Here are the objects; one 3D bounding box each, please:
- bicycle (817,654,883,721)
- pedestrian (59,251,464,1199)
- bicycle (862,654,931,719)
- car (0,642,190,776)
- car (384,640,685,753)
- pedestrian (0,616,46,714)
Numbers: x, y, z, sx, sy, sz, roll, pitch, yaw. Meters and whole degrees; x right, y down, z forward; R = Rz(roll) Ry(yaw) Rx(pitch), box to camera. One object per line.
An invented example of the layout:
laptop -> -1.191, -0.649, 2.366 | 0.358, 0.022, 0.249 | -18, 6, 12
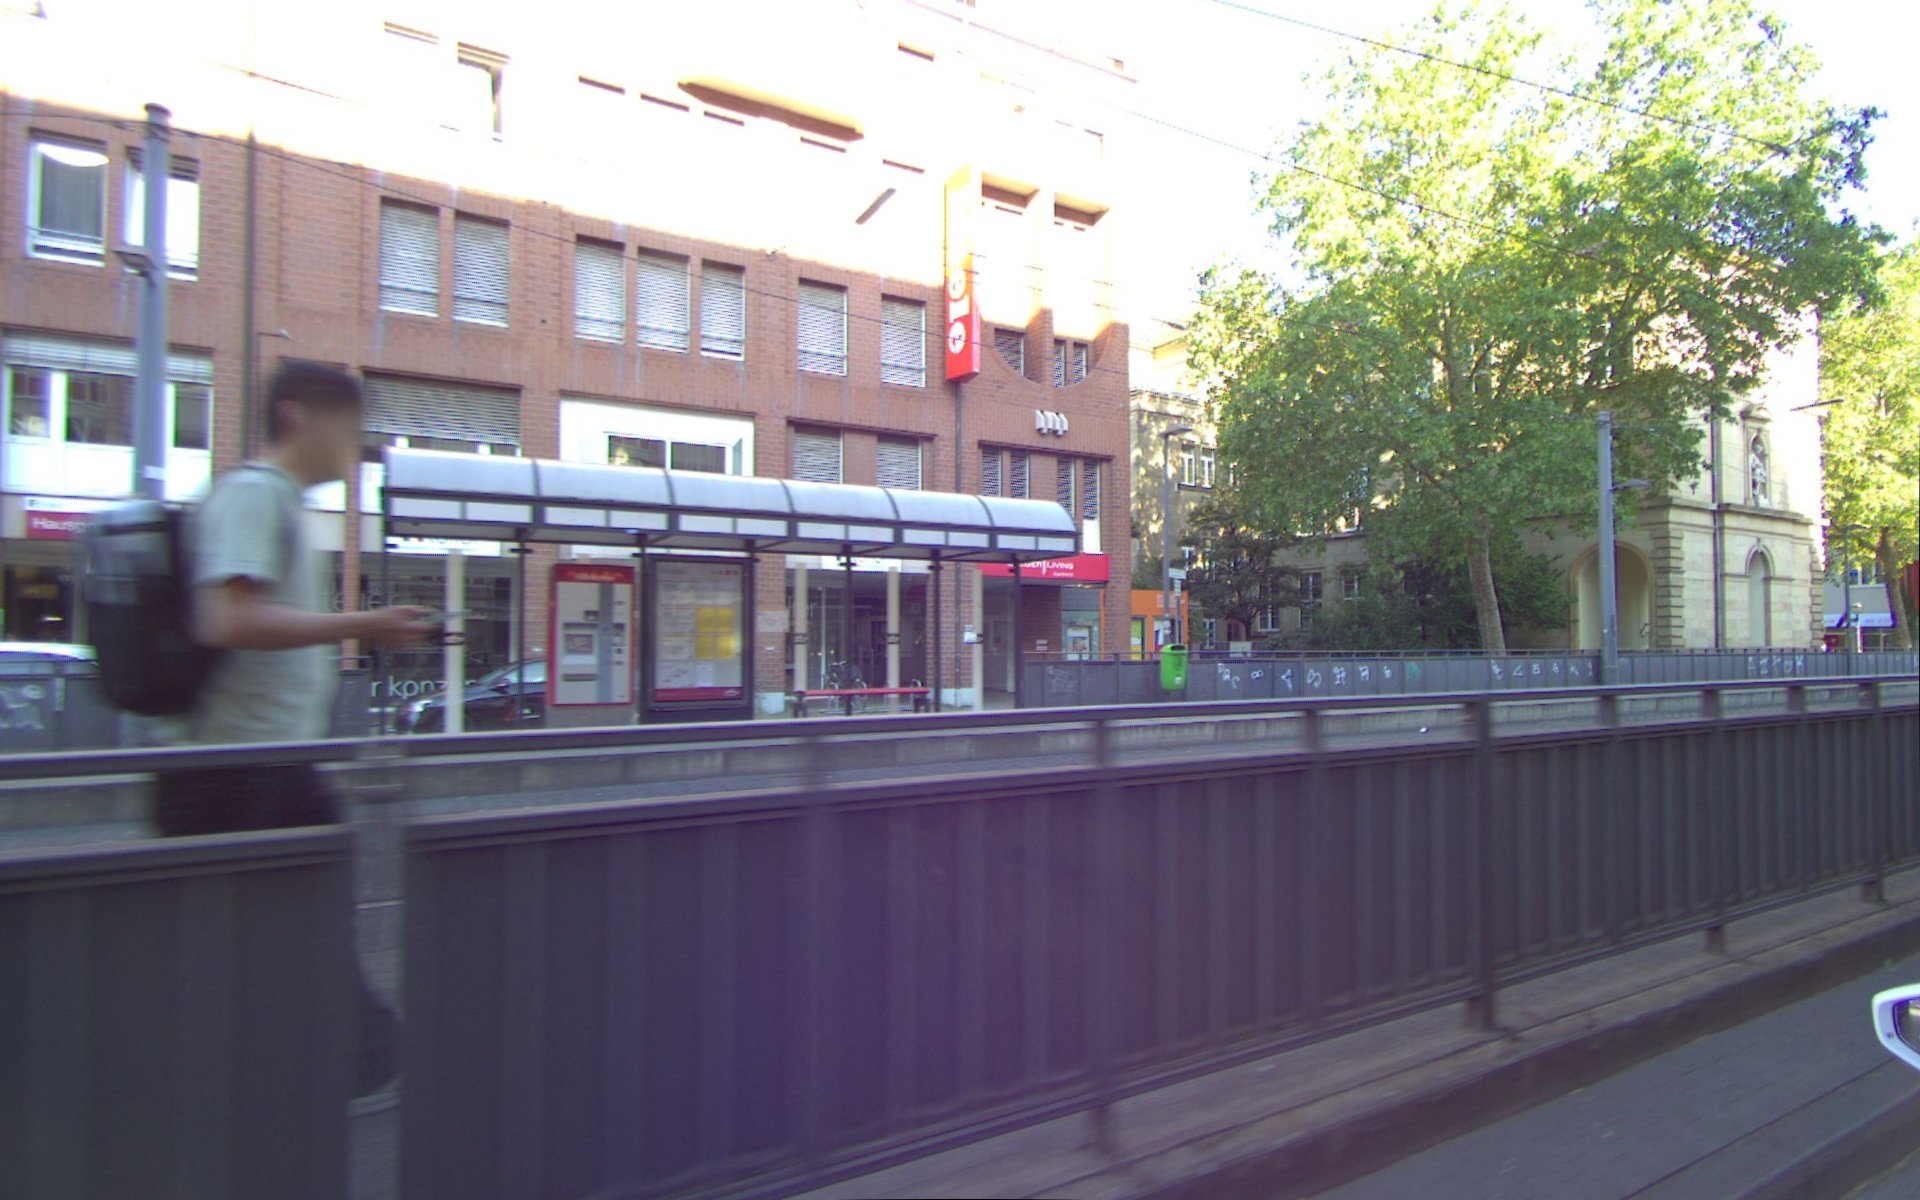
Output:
bicycle -> -2.549, 1.954, 22.933 | 0.828, 1.299, 2.604 | 2, 0, -21
pedestrian -> -1.465, 0.295, 2.192 | 0.599, 1.815, 0.580 | 2, -2, -31
bicycle -> -1.508, 1.971, 23.370 | 0.828, 1.299, 2.604 | 2, 0, -21
car -> -12.612, 1.344, 12.687 | 4.239, 1.614, 1.902 | 3, -5, -29
car -> -6.853, 1.544, 16.325 | 4.239, 1.614, 1.902 | 3, -5, -29
pedestrian -> -16.617, 1.138, 17.704 | 0.631, 1.683, 0.607 | 2, -2, -35
